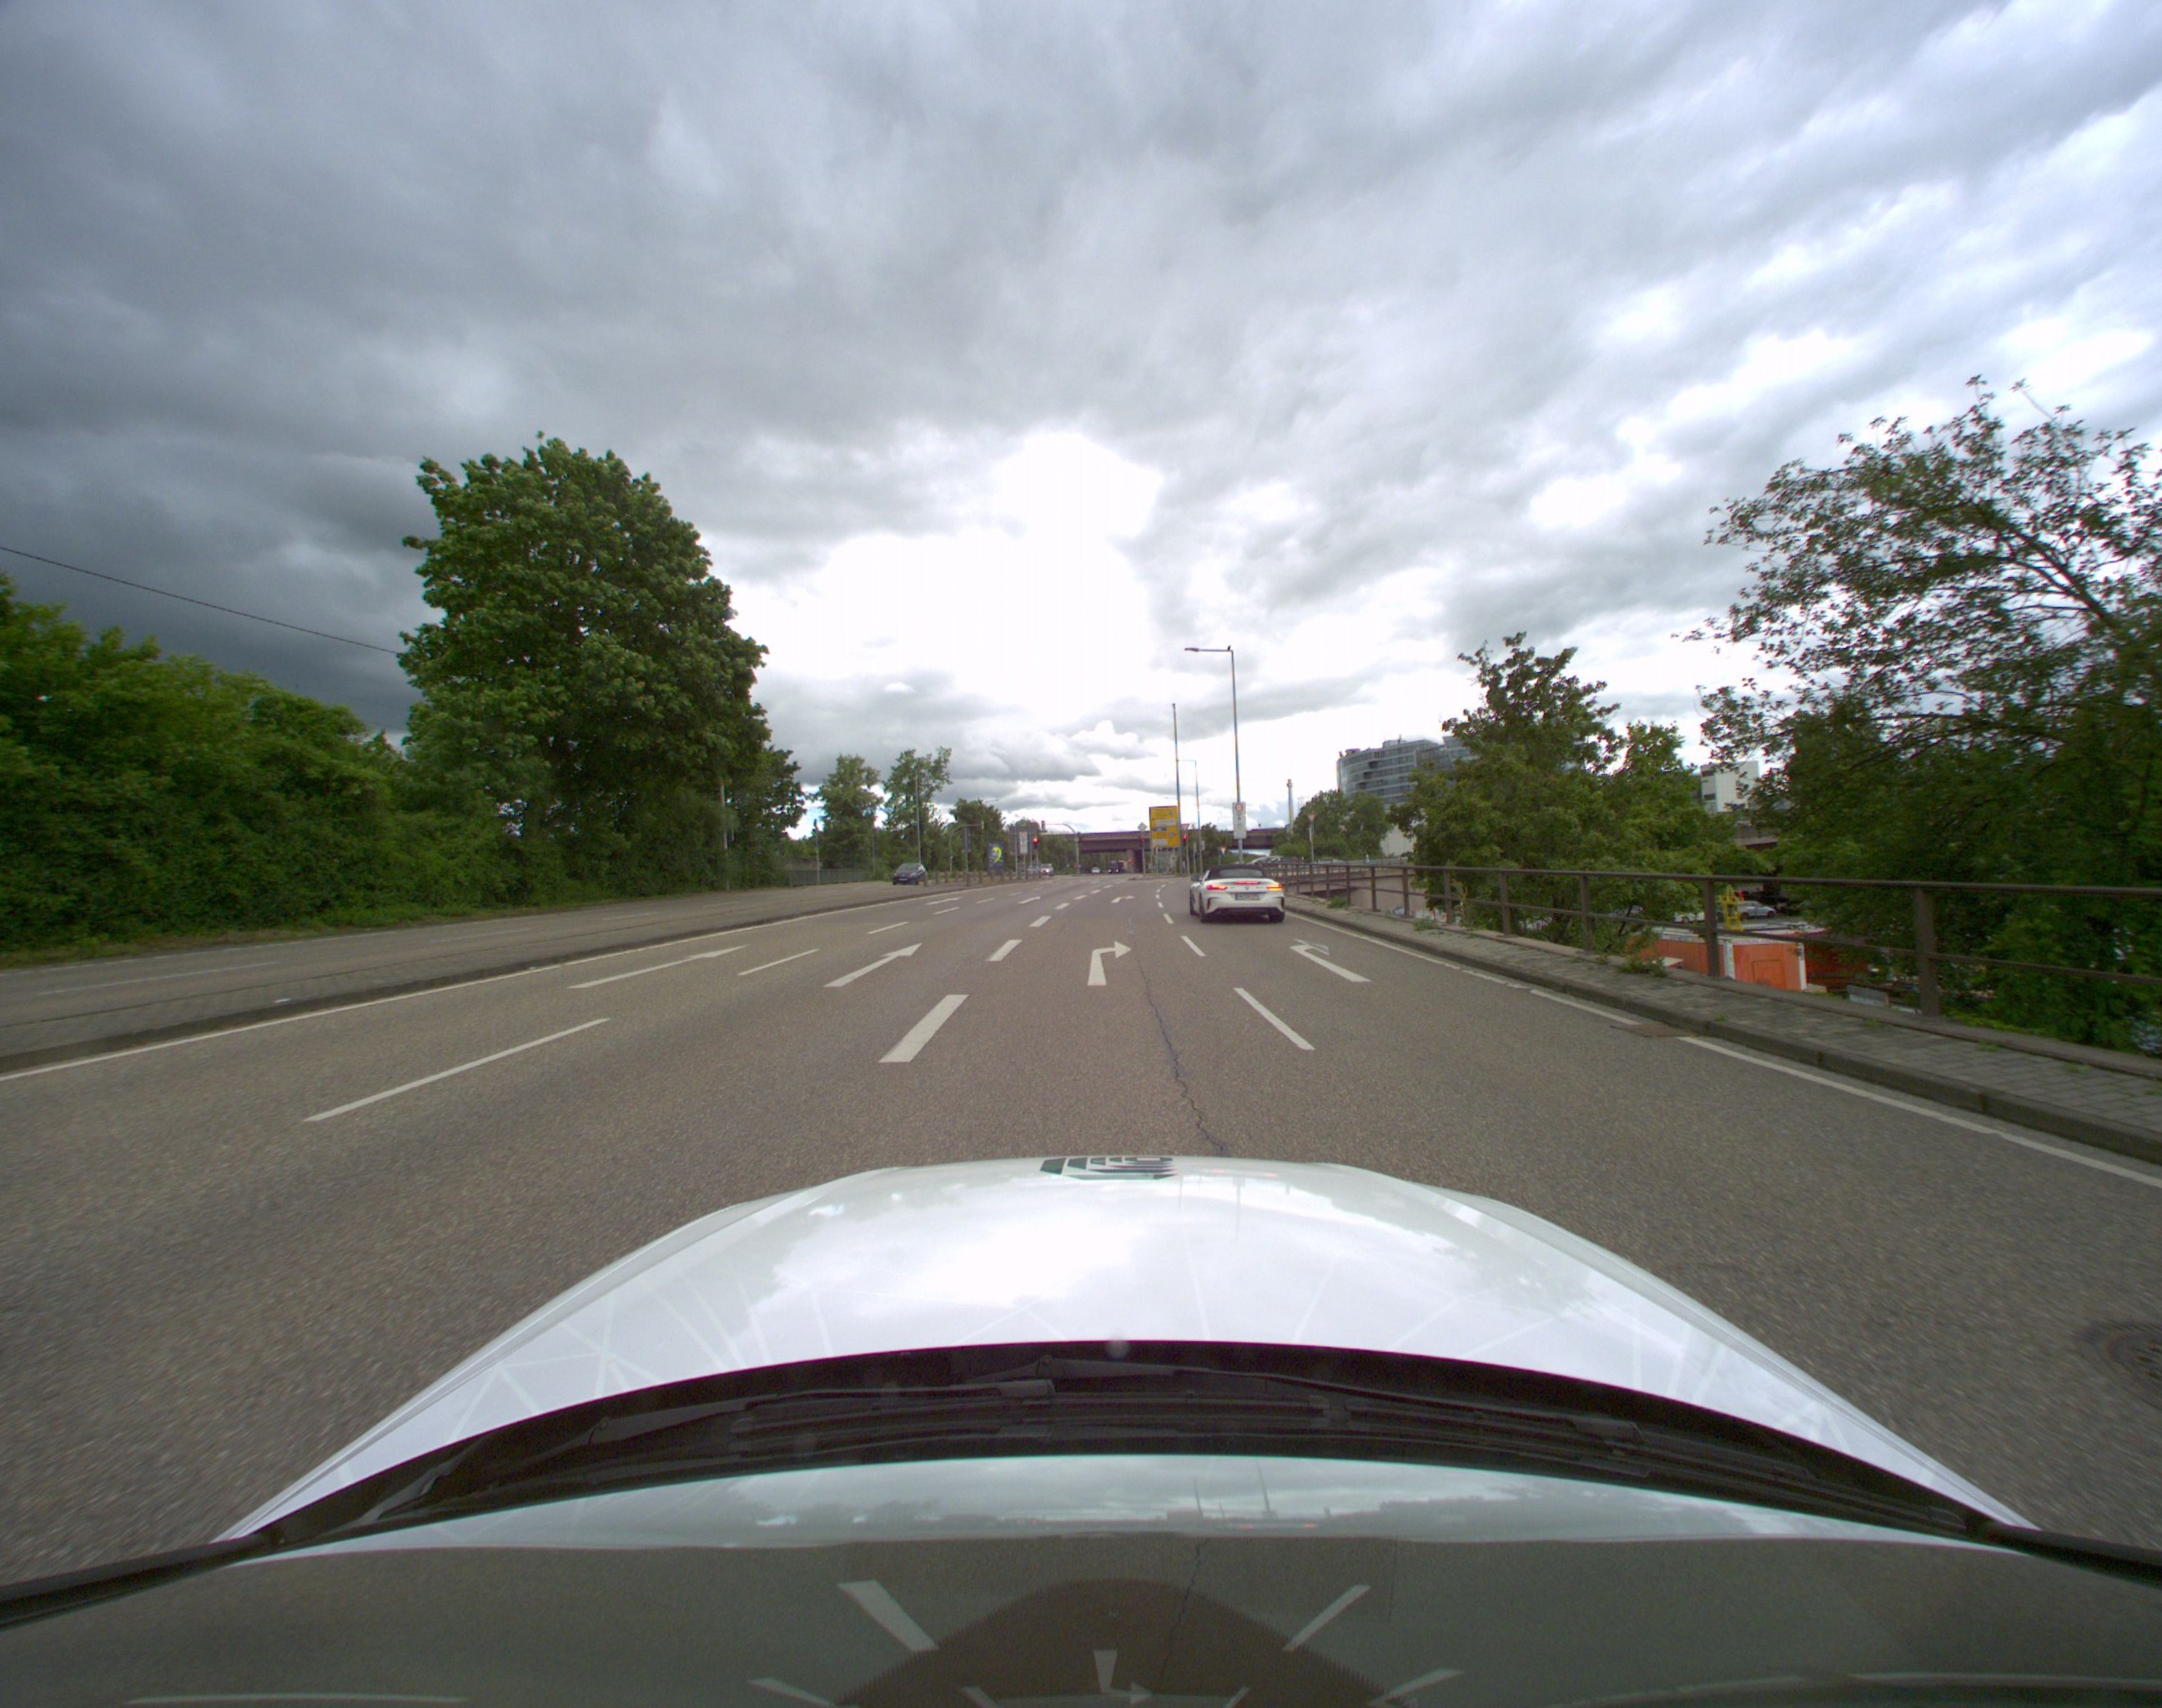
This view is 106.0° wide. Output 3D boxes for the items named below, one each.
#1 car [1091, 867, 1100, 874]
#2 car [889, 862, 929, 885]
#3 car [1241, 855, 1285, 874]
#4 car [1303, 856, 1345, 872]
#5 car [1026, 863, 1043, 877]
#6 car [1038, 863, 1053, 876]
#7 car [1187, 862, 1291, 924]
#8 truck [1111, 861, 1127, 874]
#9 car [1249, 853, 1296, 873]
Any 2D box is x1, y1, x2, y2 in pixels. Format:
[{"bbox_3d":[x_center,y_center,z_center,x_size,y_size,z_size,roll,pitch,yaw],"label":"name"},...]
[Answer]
[{"bbox_3d":[3.170,3.506,175.393,1.732,1.537,3.677,-1,0,5],"label":"car"},{"bbox_3d":[-11.465,1.272,54.571,1.753,1.484,3.486,0,-1,3],"label":"car"},{"bbox_3d":[19.455,1.110,87.175,4.349,1.758,2.003,-3,-3,6],"label":"car"},{"bbox_3d":[28.069,1.156,94.227,4.349,1.571,2.003,-3,-3,6],"label":"car"},{"bbox_3d":[-5.718,1.933,100.705,1.764,1.645,3.827,0,-1,3],"label":"car"},{"bbox_3d":[-4.716,2.090,108.567,1.764,1.633,3.827,0,-1,3],"label":"car"},{"bbox_3d":[3.630,0.854,19.365,1.868,1.309,3.875,0,0,2],"label":"car"},{"bbox_3d":[10.205,3.623,216.700,2.905,3.146,10.140,0,-1,10],"label":"truck"},{"bbox_3d":[19.593,0.934,83.402,4.349,1.758,2.003,-3,-3,6],"label":"car"}]
